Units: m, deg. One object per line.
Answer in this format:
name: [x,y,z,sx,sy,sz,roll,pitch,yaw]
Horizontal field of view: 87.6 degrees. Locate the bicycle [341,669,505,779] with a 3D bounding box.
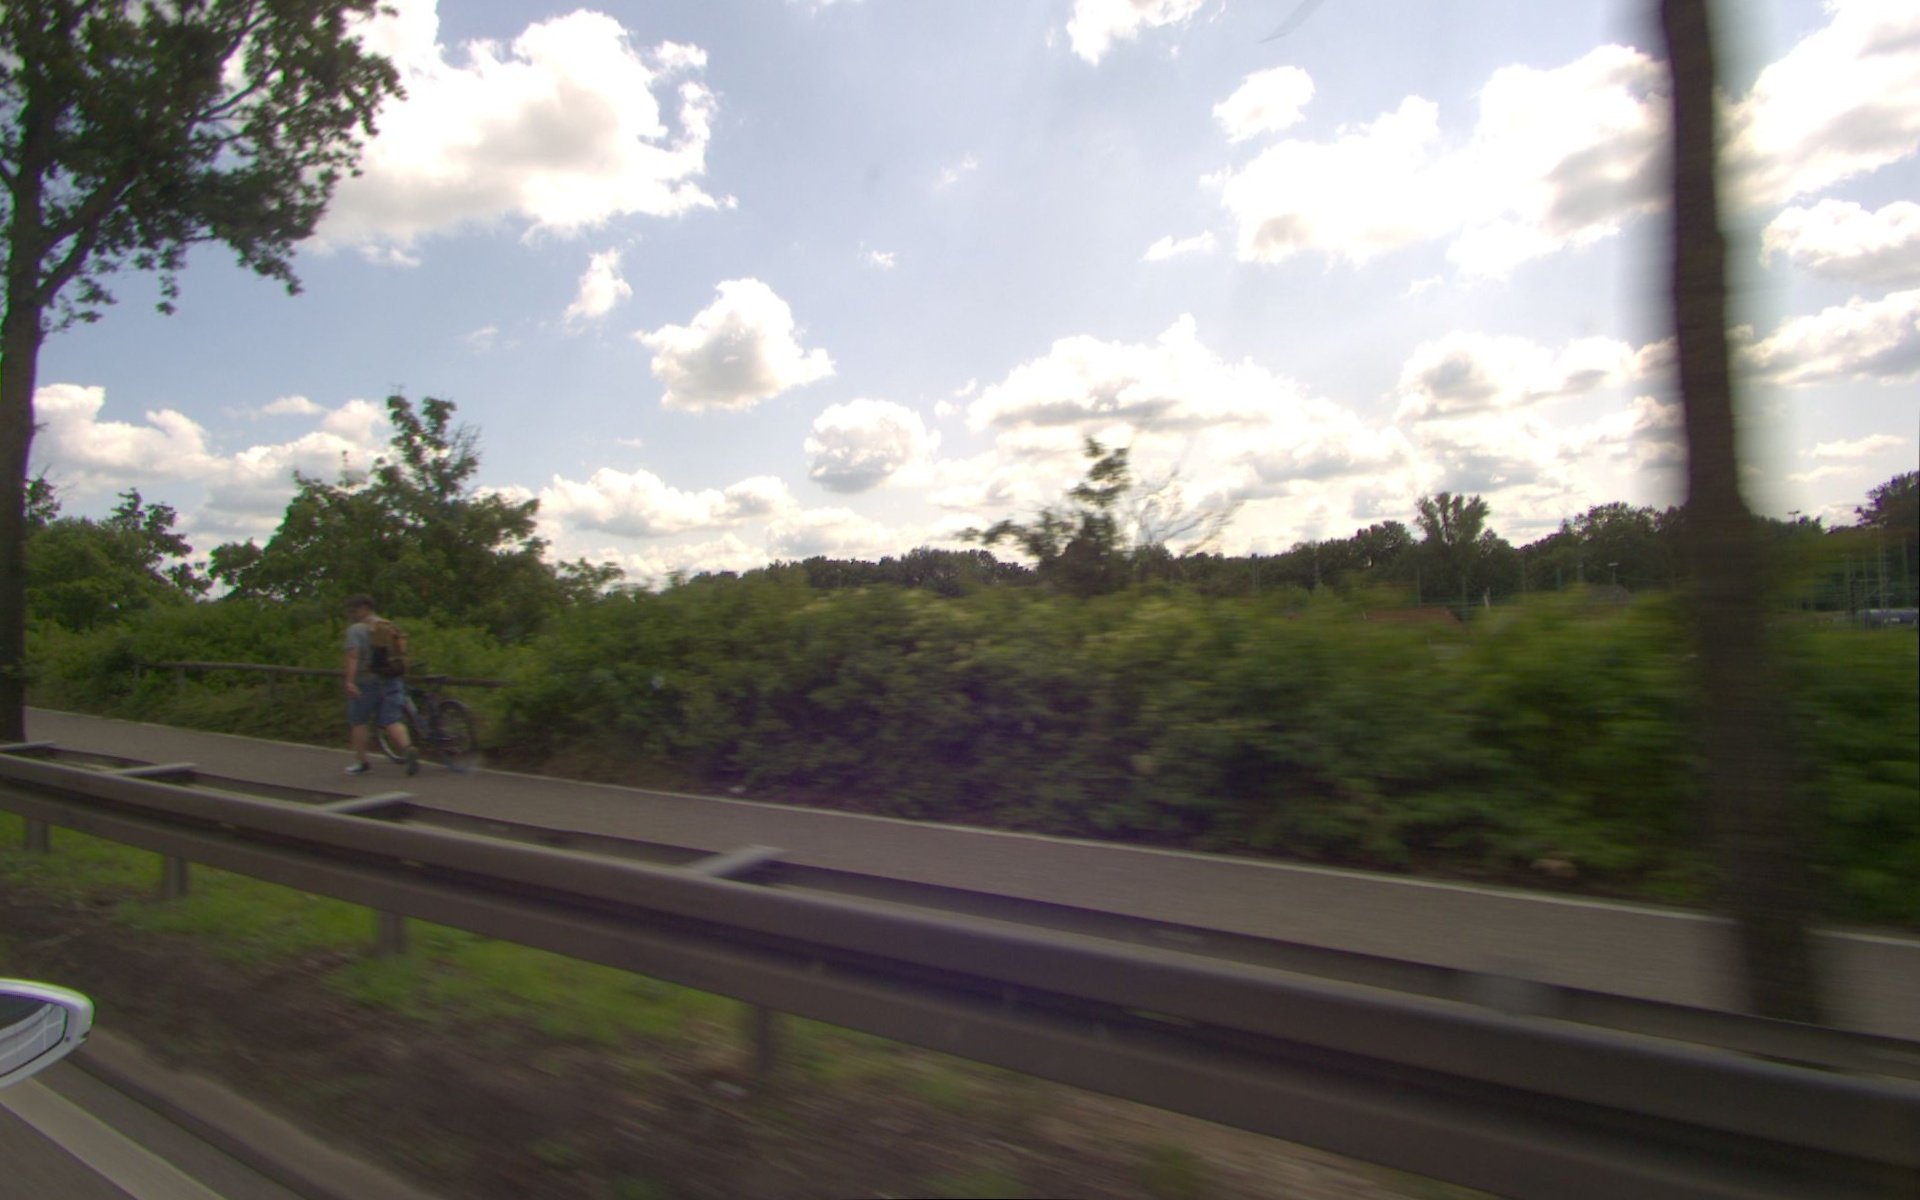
bicycle: [-5.129,1.142,9.527,1.800,0.881,0.555,-1,1,33]

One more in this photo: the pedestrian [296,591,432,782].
pedestrian: [-5.512,0.758,9.256,1.040,1.664,0.655,-1,1,33]
